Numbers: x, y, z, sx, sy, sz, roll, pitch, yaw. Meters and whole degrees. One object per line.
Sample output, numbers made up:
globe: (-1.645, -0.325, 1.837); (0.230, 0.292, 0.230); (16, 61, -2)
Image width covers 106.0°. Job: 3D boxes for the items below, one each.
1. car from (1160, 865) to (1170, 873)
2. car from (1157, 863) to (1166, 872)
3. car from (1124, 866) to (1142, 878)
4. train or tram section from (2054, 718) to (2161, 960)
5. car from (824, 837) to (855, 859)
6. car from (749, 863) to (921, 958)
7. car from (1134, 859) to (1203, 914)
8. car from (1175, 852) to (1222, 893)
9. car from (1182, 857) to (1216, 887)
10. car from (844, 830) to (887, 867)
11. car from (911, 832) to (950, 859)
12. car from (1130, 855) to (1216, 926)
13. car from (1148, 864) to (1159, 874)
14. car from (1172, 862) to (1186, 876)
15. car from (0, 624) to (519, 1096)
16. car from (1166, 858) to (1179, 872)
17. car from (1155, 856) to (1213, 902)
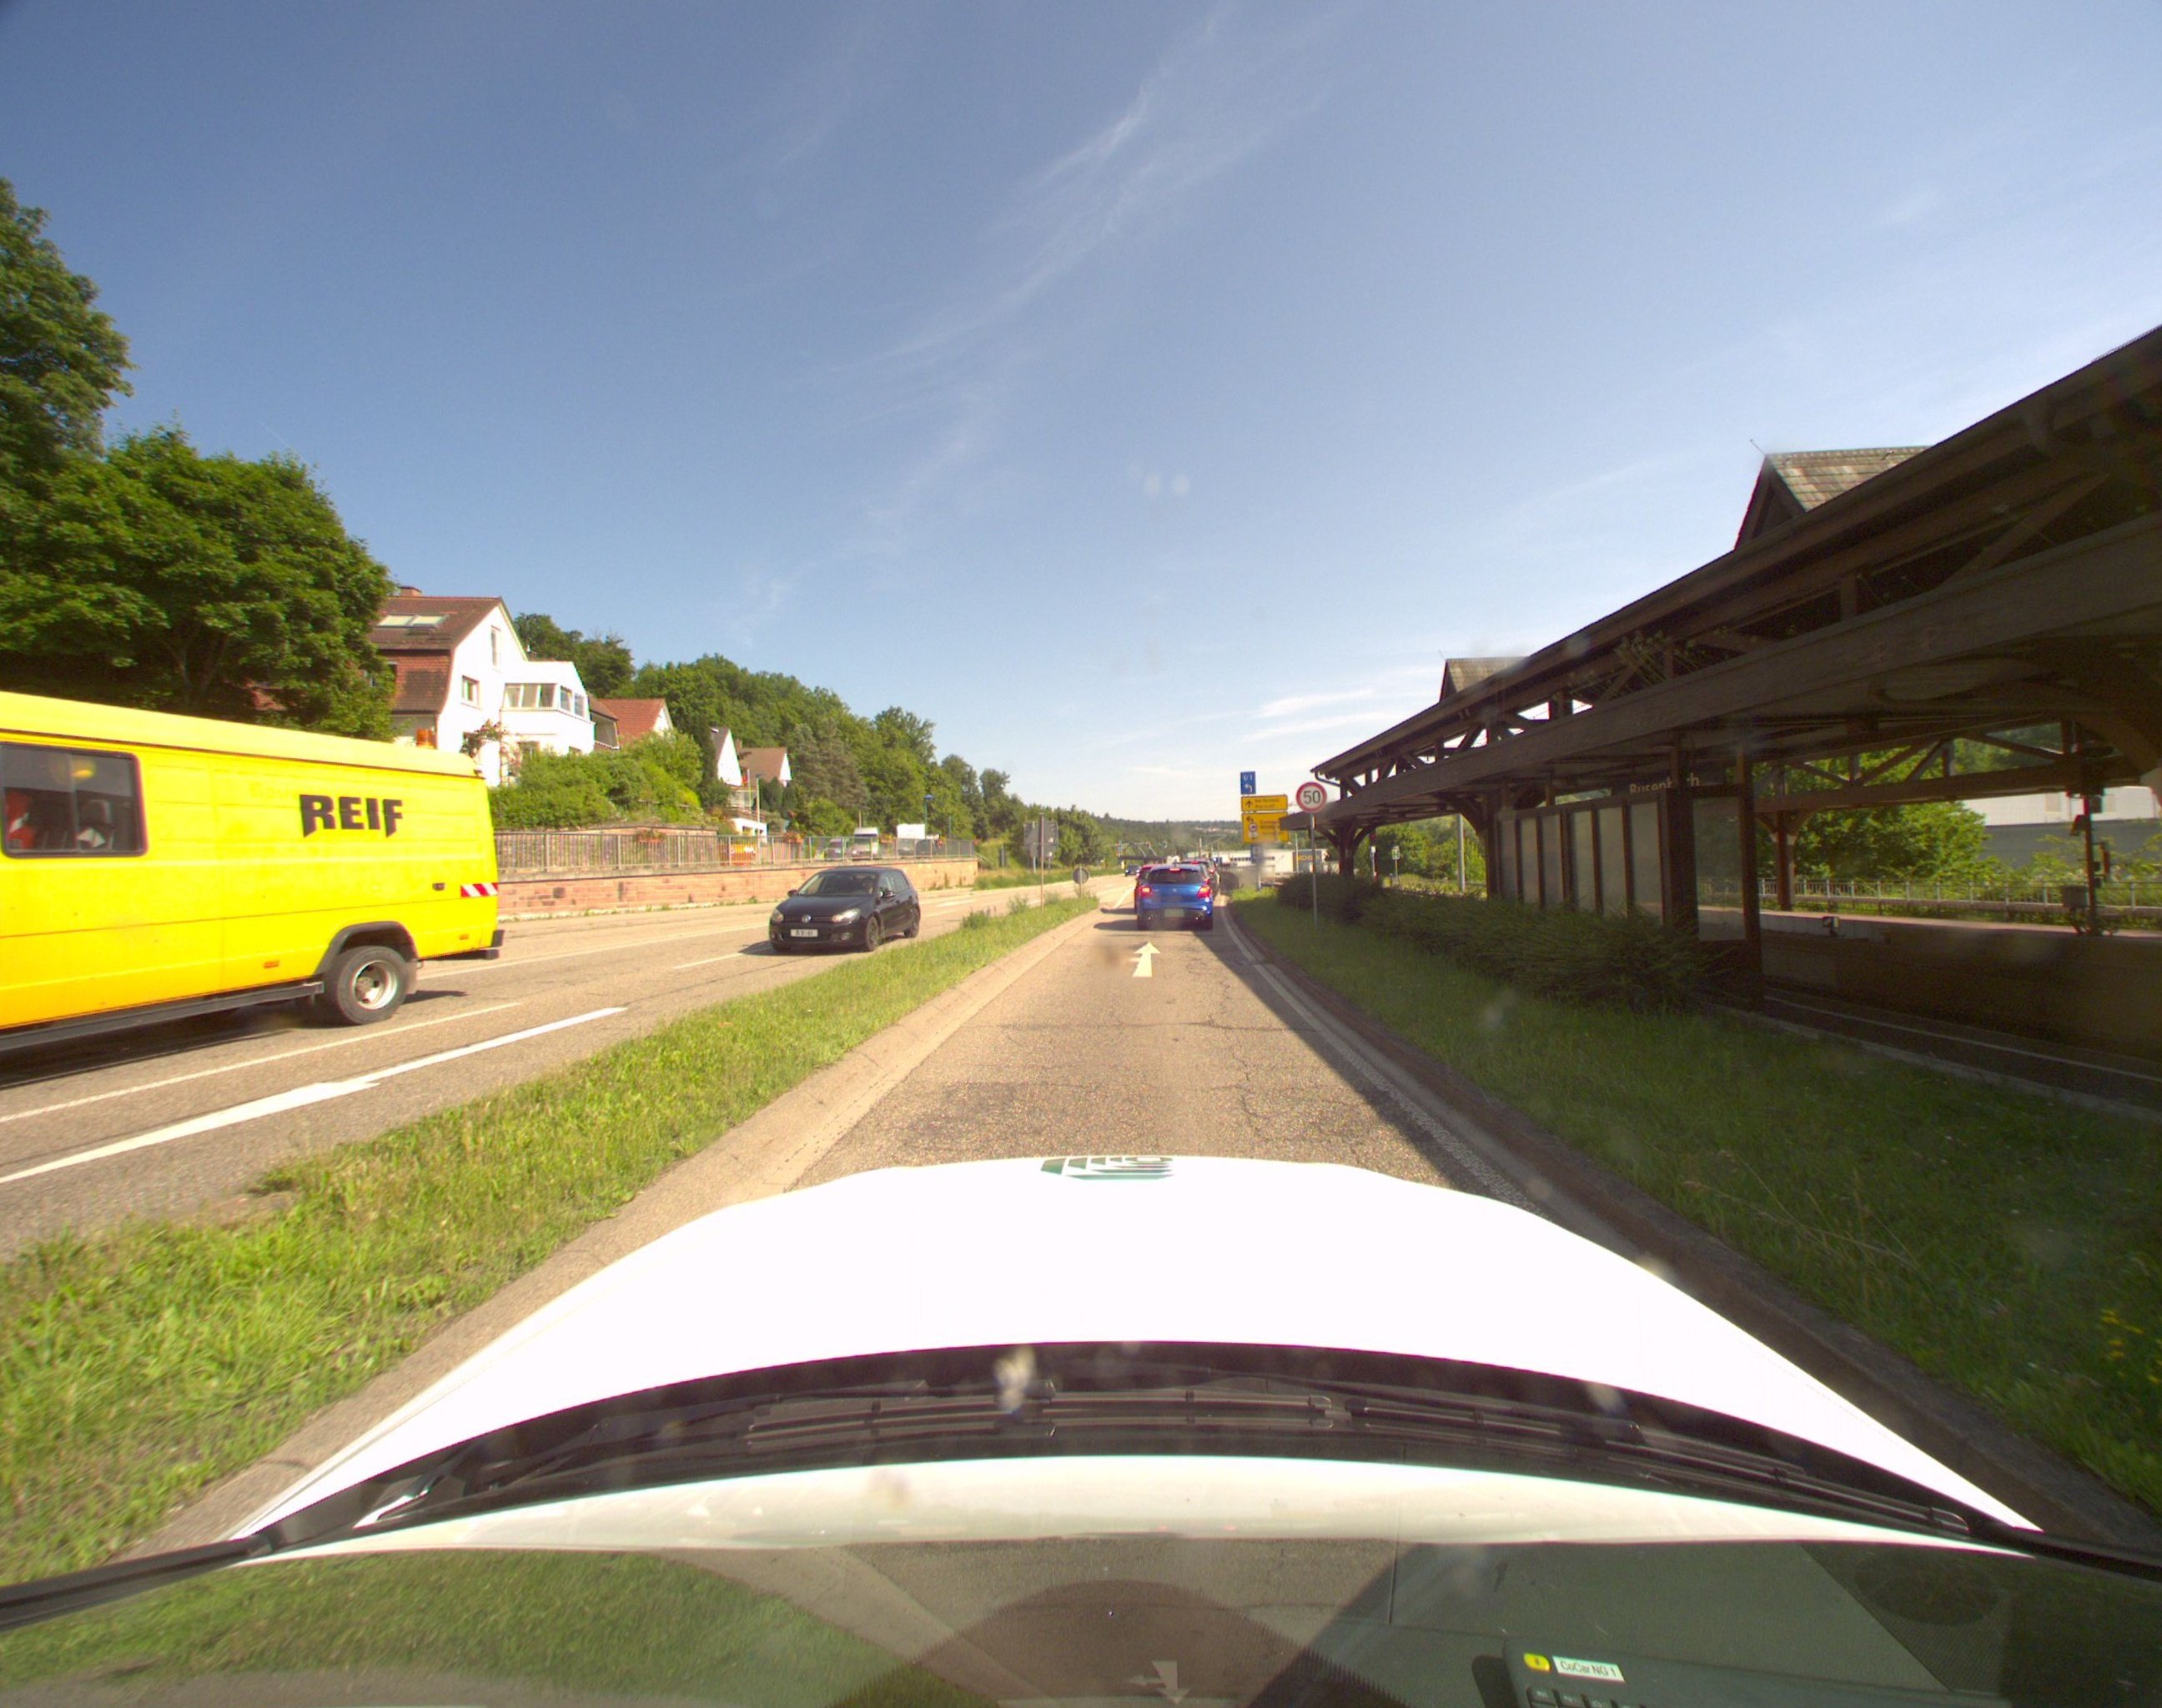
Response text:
car: (16.491, 2.883, 160.393); (1.983, 1.591, 4.006); (0, 0, 6)
car: (18.212, 3.001, 184.371); (1.985, 2.014, 4.003); (0, 0, 3)
car: (6.538, 2.221, 101.272); (1.781, 1.471, 4.728); (-1, 0, 9)
train or tram section: (16.192, -0.192, 6.578); (2.745, 3.364, 12.056); (0, 0, 3)
car: (-19.267, -0.448, 65.071); (1.895, 1.629, 3.987); (-1, 0, -9)
car: (-4.372, 0.940, 15.145); (1.738, 1.462, 4.047); (-2, -1, 3)
car: (2.819, 0.953, 25.540); (1.982, 1.571, 4.009); (0, -1, 8)
car: (5.287, 0.781, 36.717); (1.982, 1.686, 4.507); (1, 0, 8)
car: (7.286, 1.094, 50.497); (1.982, 1.736, 4.009); (1, 0, 8)
car: (-15.180, -0.405, 57.745); (2.091, 2.444, 5.772); (0, 1, -7)
car: (-11.080, -0.627, 60.293); (2.014, 1.920, 4.731); (0, 1, 0)
car: (2.229, 0.809, 19.893); (1.859, 1.548, 4.006); (-1, 0, 6)
car: (13.654, 2.814, 152.892); (1.983, 1.783, 4.007); (0, -1, 6)
car: (13.630, 2.030, 113.272); (1.983, 1.817, 4.008); (1, 1, 6)
car: (-8.050, 0.046, 6.388); (2.456, 3.011, 6.472); (0, -1, 4)
car: (14.197, 1.722, 126.137); (1.983, 2.144, 4.728); (0, -1, 6)
car: (3.915, 0.880, 30.732); (1.982, 1.531, 4.612); (-2, 0, 8)
